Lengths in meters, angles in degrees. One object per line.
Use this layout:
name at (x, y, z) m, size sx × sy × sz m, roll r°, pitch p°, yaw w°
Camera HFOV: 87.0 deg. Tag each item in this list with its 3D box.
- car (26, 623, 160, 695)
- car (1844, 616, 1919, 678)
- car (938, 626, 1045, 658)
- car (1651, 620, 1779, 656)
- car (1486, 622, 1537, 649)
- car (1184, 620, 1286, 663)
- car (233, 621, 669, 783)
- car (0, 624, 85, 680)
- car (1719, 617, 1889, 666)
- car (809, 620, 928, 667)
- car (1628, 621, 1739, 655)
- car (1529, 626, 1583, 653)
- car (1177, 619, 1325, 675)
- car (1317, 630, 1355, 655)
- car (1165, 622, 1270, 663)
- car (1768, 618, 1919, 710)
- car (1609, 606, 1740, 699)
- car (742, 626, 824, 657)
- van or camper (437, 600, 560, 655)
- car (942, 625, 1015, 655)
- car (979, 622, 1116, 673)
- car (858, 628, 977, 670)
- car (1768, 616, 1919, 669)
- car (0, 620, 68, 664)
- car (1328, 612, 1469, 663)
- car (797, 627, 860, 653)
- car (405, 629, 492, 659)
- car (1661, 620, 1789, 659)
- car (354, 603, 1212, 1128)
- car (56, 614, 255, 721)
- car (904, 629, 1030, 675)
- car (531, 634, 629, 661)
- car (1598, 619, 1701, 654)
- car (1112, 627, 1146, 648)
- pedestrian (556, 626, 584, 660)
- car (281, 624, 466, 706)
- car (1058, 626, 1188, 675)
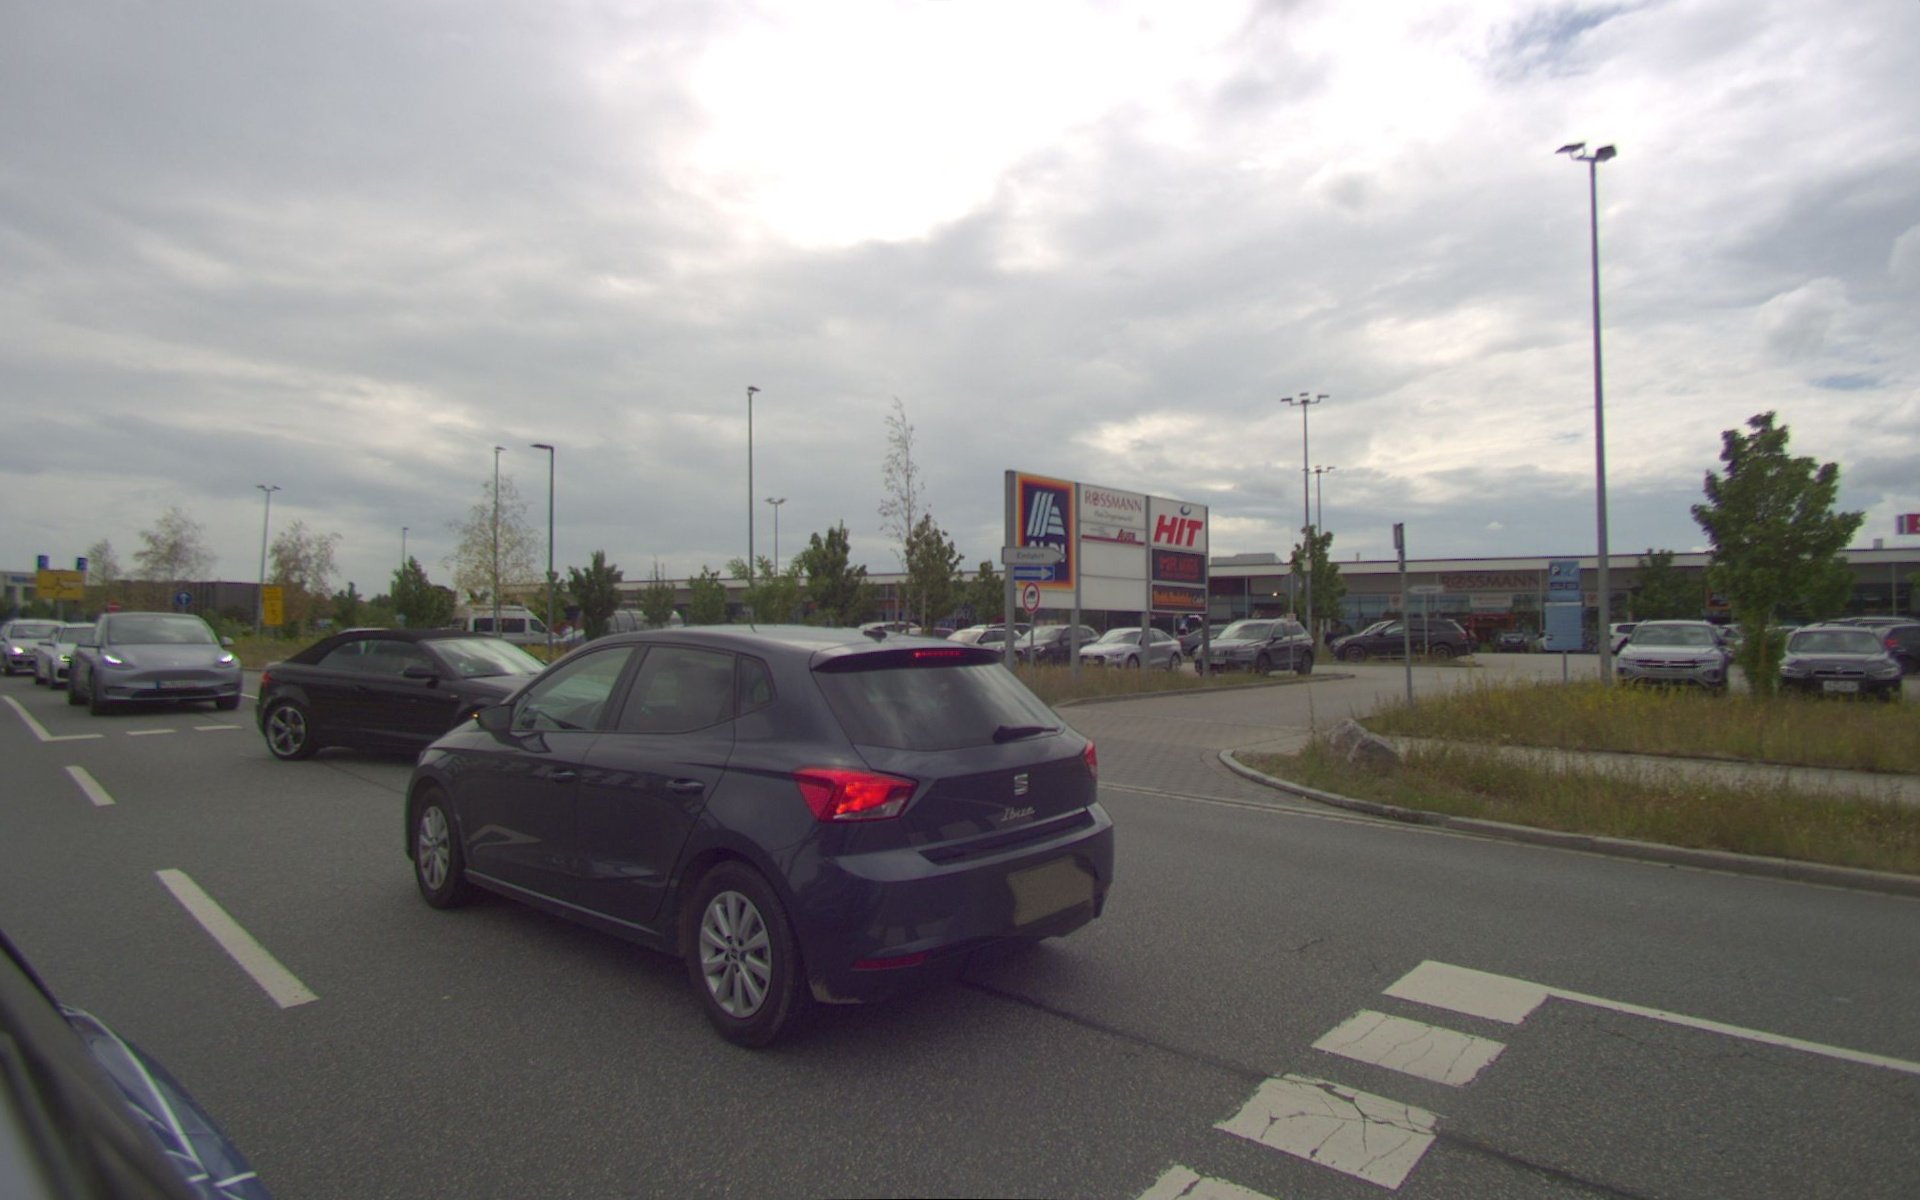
car at (-19.957, 1.293, 23.245) m, size 4.193 × 1.480 × 1.859 m, roll -1°, pitch -2°, yaw 43°
car at (26.514, 1.251, 26.937) m, size 3.970 × 1.619 × 1.986 m, roll -1°, pitch -2°, yaw 20°
car at (1.573, 2.089, 50.859) m, size 5.080 × 1.530 × 1.981 m, roll -1°, pitch -2°, yaw 27°
car at (34.756, 1.763, 46.731) m, size 4.262 × 1.619 × 1.986 m, roll -1°, pitch -2°, yaw 20°
car at (34.634, 2.254, 63.662) m, size 1.983 × 1.619 × 3.977 m, roll -1°, pitch -2°, yaw 17°
car at (12.588, 1.897, 46.525) m, size 4.406 × 1.936 × 1.829 m, roll -1°, pitch -2°, yaw 15°
car at (-5.429, 0.973, 10.860) m, size 4.198 × 1.449 × 1.763 m, roll 0°, pitch -2°, yaw 19°
car at (-25.866, 1.412, 28.130) m, size 4.029 × 1.449 × 1.685 m, roll -2°, pitch -3°, yaw 40°
car at (28.736, 1.403, 34.618) m, size 3.970 × 1.619 × 1.987 m, roll -1°, pitch -2°, yaw 20°
car at (-3.382, 1.631, 37.979) m, size 2.079 × 1.667 × 4.256 m, roll -2°, pitch -3°, yaw 40°
car at (35.121, 1.843, 49.254) m, size 3.970 × 1.619 × 1.986 m, roll -1°, pitch -2°, yaw 20°
car at (37.123, 2.467, 63.176) m, size 1.983 × 1.619 × 3.977 m, roll -1°, pitch -2°, yaw 17°
car at (8.051, 1.262, 27.814) m, size 2.166 × 1.402 × 4.309 m, roll -2°, pitch -3°, yaw 44°
car at (25.584, 2.878, 68.757) m, size 2.074 × 1.619 × 3.966 m, roll -1°, pitch -2°, yaw 25°
car at (10.616, 1.729, 41.644) m, size 3.973 × 1.619 × 1.985 m, roll -1°, pitch -2°, yaw 22°
car at (16.639, 1.109, 18.967) m, size 2.046 × 1.525 × 4.196 m, roll -1°, pitch -2°, yaw 43°
car at (15.002, 1.040, 21.159) m, size 2.025 × 1.736 × 4.202 m, roll -1°, pitch -2°, yaw 38°
car at (-11.372, 2.642, 65.103) m, size 4.898 × 1.914 × 2.140 m, roll -1°, pitch -3°, yaw 26°
van or camper at (-25.056, 1.516, 55.227) m, size 2.237 × 2.821 × 5.805 m, roll -1°, pitch -2°, yaw 33°
car at (1.225, 2.627, 65.917) m, size 4.275 × 1.888 × 2.228 m, roll -1°, pitch -2°, yaw 21°
car at (2.864, 1.489, 32.418) m, size 2.239 × 1.517 × 4.317 m, roll -2°, pitch -3°, yaw 42°
car at (-1.465, 1.741, 36.290) m, size 2.000 × 1.402 × 4.039 m, roll -2°, pitch -3°, yaw 44°
car at (28.339, 1.334, 31.910) m, size 3.970 × 1.619 × 1.986 m, roll -1°, pitch -2°, yaw 20°
car at (-37.572, 1.703, 40.712) m, size 4.702 × 1.649 × 1.972 m, roll -2°, pitch -4°, yaw 42°
car at (15.783, 1.328, 36.641) m, size 4.553 × 1.760 × 1.985 m, roll 0°, pitch -2°, yaw 22°
car at (-9.075, 2.767, 69.917) m, size 3.972 × 1.785 × 1.872 m, roll -1°, pitch -2°, yaw 21°
car at (-29.100, 2.505, 57.632) m, size 2.080 × 1.646 × 3.909 m, roll -2°, pitch -3°, yaw 35°
car at (33.169, 1.704, 44.001) m, size 3.970 × 1.619 × 1.986 m, roll -1°, pitch -2°, yaw 20°
car at (-1.150, 0.781, 4.870) m, size 4.243 × 1.431 × 1.810 m, roll -1°, pitch -2°, yaw 41°
car at (-13.690, 1.074, 17.126) m, size 4.613 × 1.573 × 1.971 m, roll -2°, pitch -3°, yaw 43°
car at (0.304, 1.753, 34.544) m, size 2.010 × 1.468 × 4.273 m, roll -2°, pitch -3°, yaw 41°
car at (-19.322, 2.384, 51.633) m, size 2.008 × 1.314 × 4.284 m, roll -2°, pitch -3°, yaw 36°
car at (35.434, 1.884, 52.132) m, size 3.970 × 1.746 × 1.986 m, roll -1°, pitch -2°, yaw 20°
car at (12.093, 2.688, 72.191) m, size 1.987 × 1.493 × 4.030 m, roll -1°, pitch -2°, yaw 16°
pedestrian at (-21.966, 2.415, 57.014) m, size 1.107 × 1.904 × 1.003 m, roll -1°, pitch -3°, yaw 23°
car at (-11.598, 1.217, 19.882) m, size 4.498 × 1.428 × 1.816 m, roll -1°, pitch -3°, yaw 42°
car at (4.947, 1.487, 30.322) m, size 2.025 × 1.350 × 4.270 m, roll -2°, pitch -3°, yaw 39°
